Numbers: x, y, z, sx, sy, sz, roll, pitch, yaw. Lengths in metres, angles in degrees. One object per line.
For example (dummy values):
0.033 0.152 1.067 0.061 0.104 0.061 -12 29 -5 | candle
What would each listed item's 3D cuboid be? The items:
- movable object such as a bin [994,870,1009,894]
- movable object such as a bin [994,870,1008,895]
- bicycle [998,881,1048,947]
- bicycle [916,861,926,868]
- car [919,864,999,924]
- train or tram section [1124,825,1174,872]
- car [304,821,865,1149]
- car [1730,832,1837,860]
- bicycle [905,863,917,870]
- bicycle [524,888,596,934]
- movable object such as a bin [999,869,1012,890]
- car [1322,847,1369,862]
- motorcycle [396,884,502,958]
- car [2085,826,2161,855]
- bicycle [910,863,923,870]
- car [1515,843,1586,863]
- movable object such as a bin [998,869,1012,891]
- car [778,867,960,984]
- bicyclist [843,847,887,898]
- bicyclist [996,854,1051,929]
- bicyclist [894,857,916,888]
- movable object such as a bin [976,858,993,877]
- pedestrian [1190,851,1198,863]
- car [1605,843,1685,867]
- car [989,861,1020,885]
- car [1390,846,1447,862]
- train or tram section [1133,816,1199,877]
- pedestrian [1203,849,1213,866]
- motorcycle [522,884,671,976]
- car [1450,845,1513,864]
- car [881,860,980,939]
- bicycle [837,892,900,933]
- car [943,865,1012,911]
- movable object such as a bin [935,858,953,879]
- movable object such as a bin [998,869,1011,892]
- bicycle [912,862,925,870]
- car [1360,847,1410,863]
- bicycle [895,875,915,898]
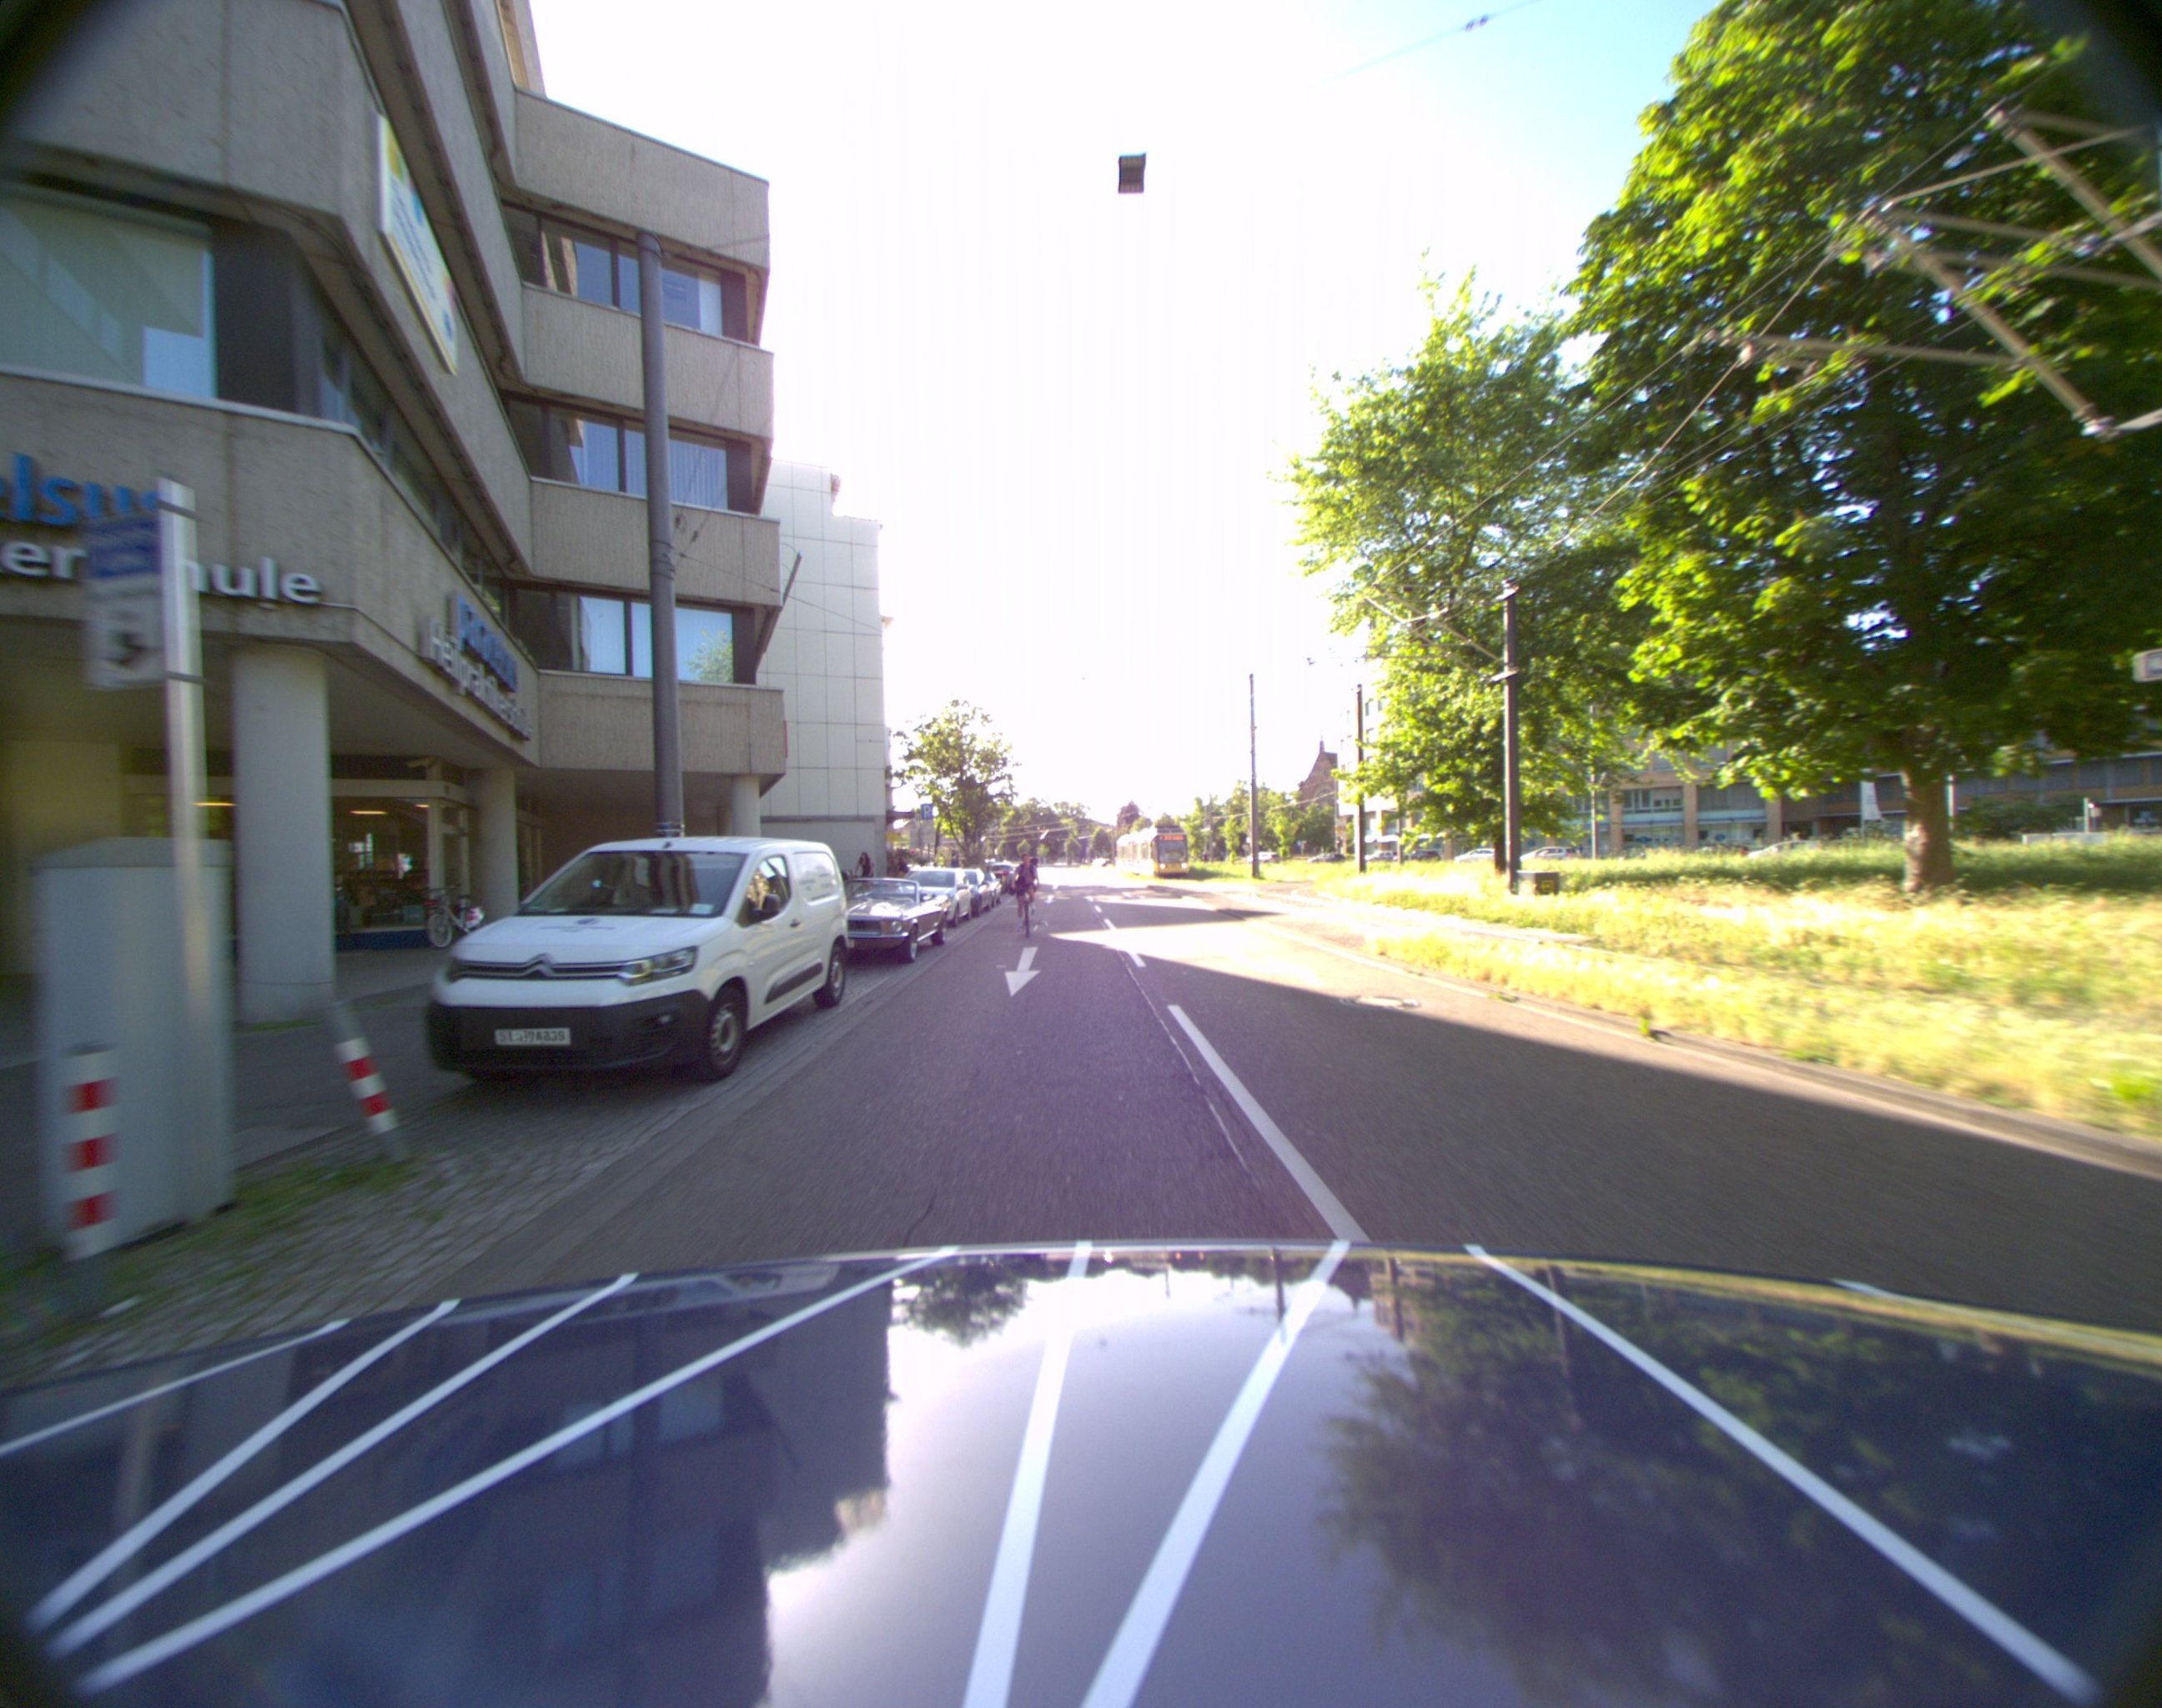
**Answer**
-3.816 1.329 36.492 0.612 1.099 0.525 -3 2 -5 | movable object such as a bin
-3.779 1.342 35.900 0.594 1.077 0.604 -3 2 -4 | movable object such as a bin
-1.187 1.216 16.050 0.888 1.129 2.228 -3 1 -2 | bicycle
-23.786 1.622 112.910 1.435 1.005 0.410 -1 1 -24 | bicycle
-3.740 1.184 23.978 1.675 1.510 4.198 -3 1 1 | car
5.771 -0.437 67.203 2.956 3.591 13.633 -2 0 0 | train or tram section
-3.477 0.722 6.572 1.999 1.802 4.308 -3 1 -2 | car
46.195 -0.577 50.068 2.003 1.347 4.751 -3 7 -35 | car
-26.578 2.013 118.961 1.826 1.063 0.414 -1 2 -30 | bicycle
-12.145 1.321 17.685 1.853 0.975 0.683 -3 0 33 | bicycle
-3.930 1.321 39.588 0.575 1.076 0.570 -3 2 -5 | movable object such as a bin
28.316 0.065 81.540 2.002 1.508 4.652 -4 1 -27 | car
-11.330 1.159 13.710 0.513 1.161 2.099 -3 0 -13 | motorcycle
65.605 -0.863 47.657 1.995 1.572 4.007 -2 2 35 | car
-25.088 1.903 115.724 1.822 1.076 0.529 -4 2 -29 | bicycle
38.286 -0.058 62.047 2.003 1.419 4.500 -4 1 -30 | car
-3.884 1.313 38.955 0.621 1.063 0.610 -3 2 -5 | movable object such as a bin
-3.478 1.092 13.503 1.778 1.445 4.730 -3 1 1 | car
-7.193 0.618 25.364 0.940 1.624 0.937 -2 2 31 | bicyclist
-1.208 0.783 16.217 1.040 1.475 0.988 -3 2 -2 | bicyclist
-7.911 0.835 34.109 0.760 1.319 0.993 -3 2 -5 | bicyclist
-7.642 1.059 60.098 1.284 1.383 0.921 -3 2 -8 | movable object such as a bin
18.711 0.453 125.965 0.880 2.002 0.923 -4 2 -25 | pedestrian
41.353 0.048 55.793 2.003 1.505 4.270 -3 4 -30 | car
-4.949 1.186 49.522 1.770 1.430 4.582 -1 0 -4 | car
32.620 0.001 73.666 2.002 1.439 5.010 -4 1 -23 | car
5.752 -0.451 53.953 2.956 3.663 13.183 -2 0 0 | train or tram section
13.018 0.335 77.833 0.736 1.661 0.743 -2 1 -17 | pedestrian
-7.426 1.114 11.796 0.765 1.148 2.048 1 2 8 | motorcycle
35.470 0.059 67.444 2.002 1.587 4.646 -4 1 -27 | car
-3.823 1.107 19.989 1.856 1.679 3.865 -3 1 -2 | car
-7.089 1.938 25.456 0.820 1.178 1.967 -2 2 30 | bicycle
-3.806 1.227 28.764 1.856 1.336 4.599 -3 1 1 | car
-11.656 1.229 64.673 1.261 1.699 0.943 -2 1 -26 | movable object such as a bin
-3.807 1.325 37.743 0.608 1.063 0.613 -3 2 -5 | movable object such as a bin
-24.491 1.822 114.555 1.759 1.070 0.405 -4 2 -28 | bicycle
34.748 0.075 87.007 2.127 1.659 5.200 -4 1 -26 | car
-7.895 1.455 34.138 0.536 0.886 2.069 -3 1 -5 | bicycle
